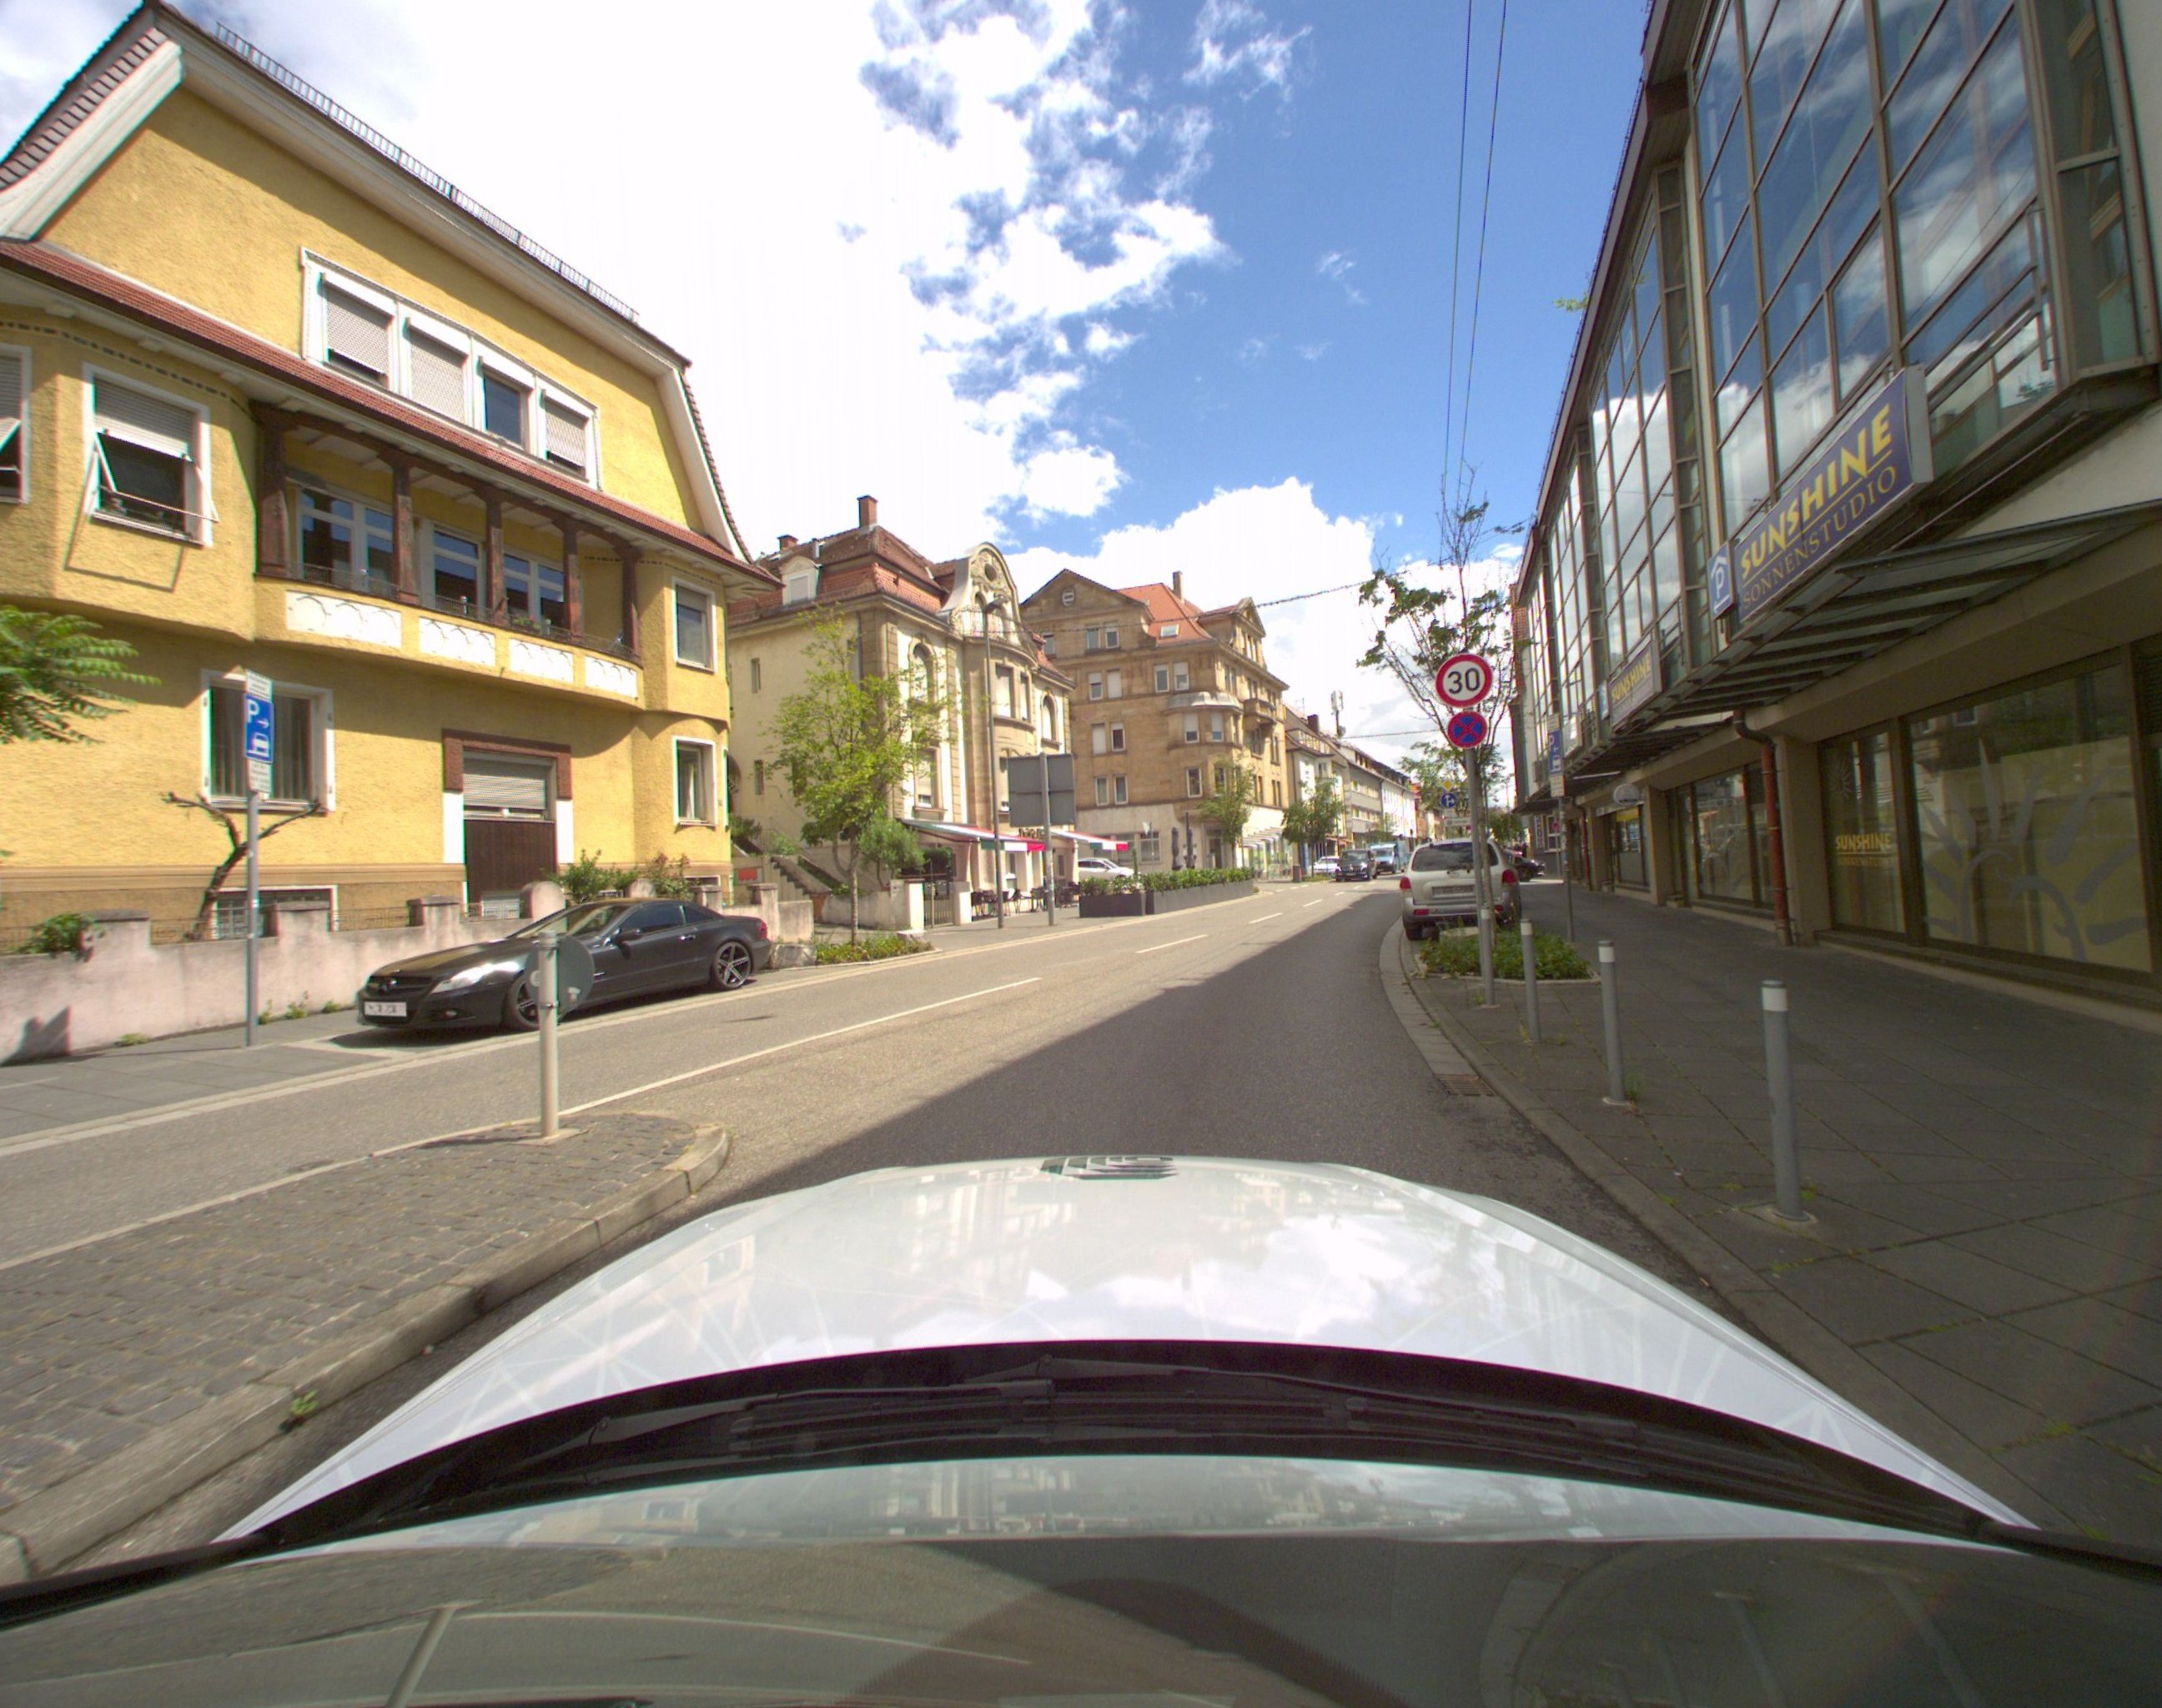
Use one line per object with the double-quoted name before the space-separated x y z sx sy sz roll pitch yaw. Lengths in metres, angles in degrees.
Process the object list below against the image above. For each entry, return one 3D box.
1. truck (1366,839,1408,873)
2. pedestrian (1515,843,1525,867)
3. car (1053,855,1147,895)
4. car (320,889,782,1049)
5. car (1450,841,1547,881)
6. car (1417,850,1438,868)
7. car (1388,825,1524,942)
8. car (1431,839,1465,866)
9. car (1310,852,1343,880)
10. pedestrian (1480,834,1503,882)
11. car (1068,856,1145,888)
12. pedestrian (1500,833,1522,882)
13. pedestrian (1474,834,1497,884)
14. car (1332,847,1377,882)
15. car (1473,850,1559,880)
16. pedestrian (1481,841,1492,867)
"truck" 21.439 0.086 56.998 2.046 2.165 5.326 -4 -1 27
"pedestrian" 37.741 0.073 70.007 0.676 2.014 0.602 -2 -1 23
"car" 1.004 1.048 41.103 4.392 1.776 2.005 -3 -1 9
"car" -5.892 1.178 9.806 1.694 1.245 4.435 -3 -1 23
"car" 19.532 0.347 38.164 3.949 1.708 1.684 -2 -1 28
"car" 32.926 0.451 77.365 1.681 1.585 3.980 -3 -1 24
"car" 6.848 0.478 14.611 1.807 1.731 4.259 -5 -2 28
"car" 28.399 -0.139 62.989 1.953 1.875 5.068 -4 -1 28
"car" 16.578 0.766 54.817 1.695 1.712 4.021 -3 -1 22
"pedestrian" 17.410 0.178 34.547 0.683 2.014 0.727 -3 -1 21
"car" 1.490 1.026 47.082 3.953 1.662 1.919 -3 -1 20
"pedestrian" 18.192 0.137 34.469 0.683 2.014 0.727 -3 -1 21
"pedestrian" 16.753 0.196 33.720 0.683 2.014 0.727 -3 -1 21
"car" 15.896 0.581 47.208 1.818 1.835 4.596 -3 -1 26
"car" 21.316 0.552 40.035 3.588 1.413 1.599 -2 -1 25
"pedestrian" 31.525 0.002 63.277 0.676 2.014 0.602 -3 -1 29
